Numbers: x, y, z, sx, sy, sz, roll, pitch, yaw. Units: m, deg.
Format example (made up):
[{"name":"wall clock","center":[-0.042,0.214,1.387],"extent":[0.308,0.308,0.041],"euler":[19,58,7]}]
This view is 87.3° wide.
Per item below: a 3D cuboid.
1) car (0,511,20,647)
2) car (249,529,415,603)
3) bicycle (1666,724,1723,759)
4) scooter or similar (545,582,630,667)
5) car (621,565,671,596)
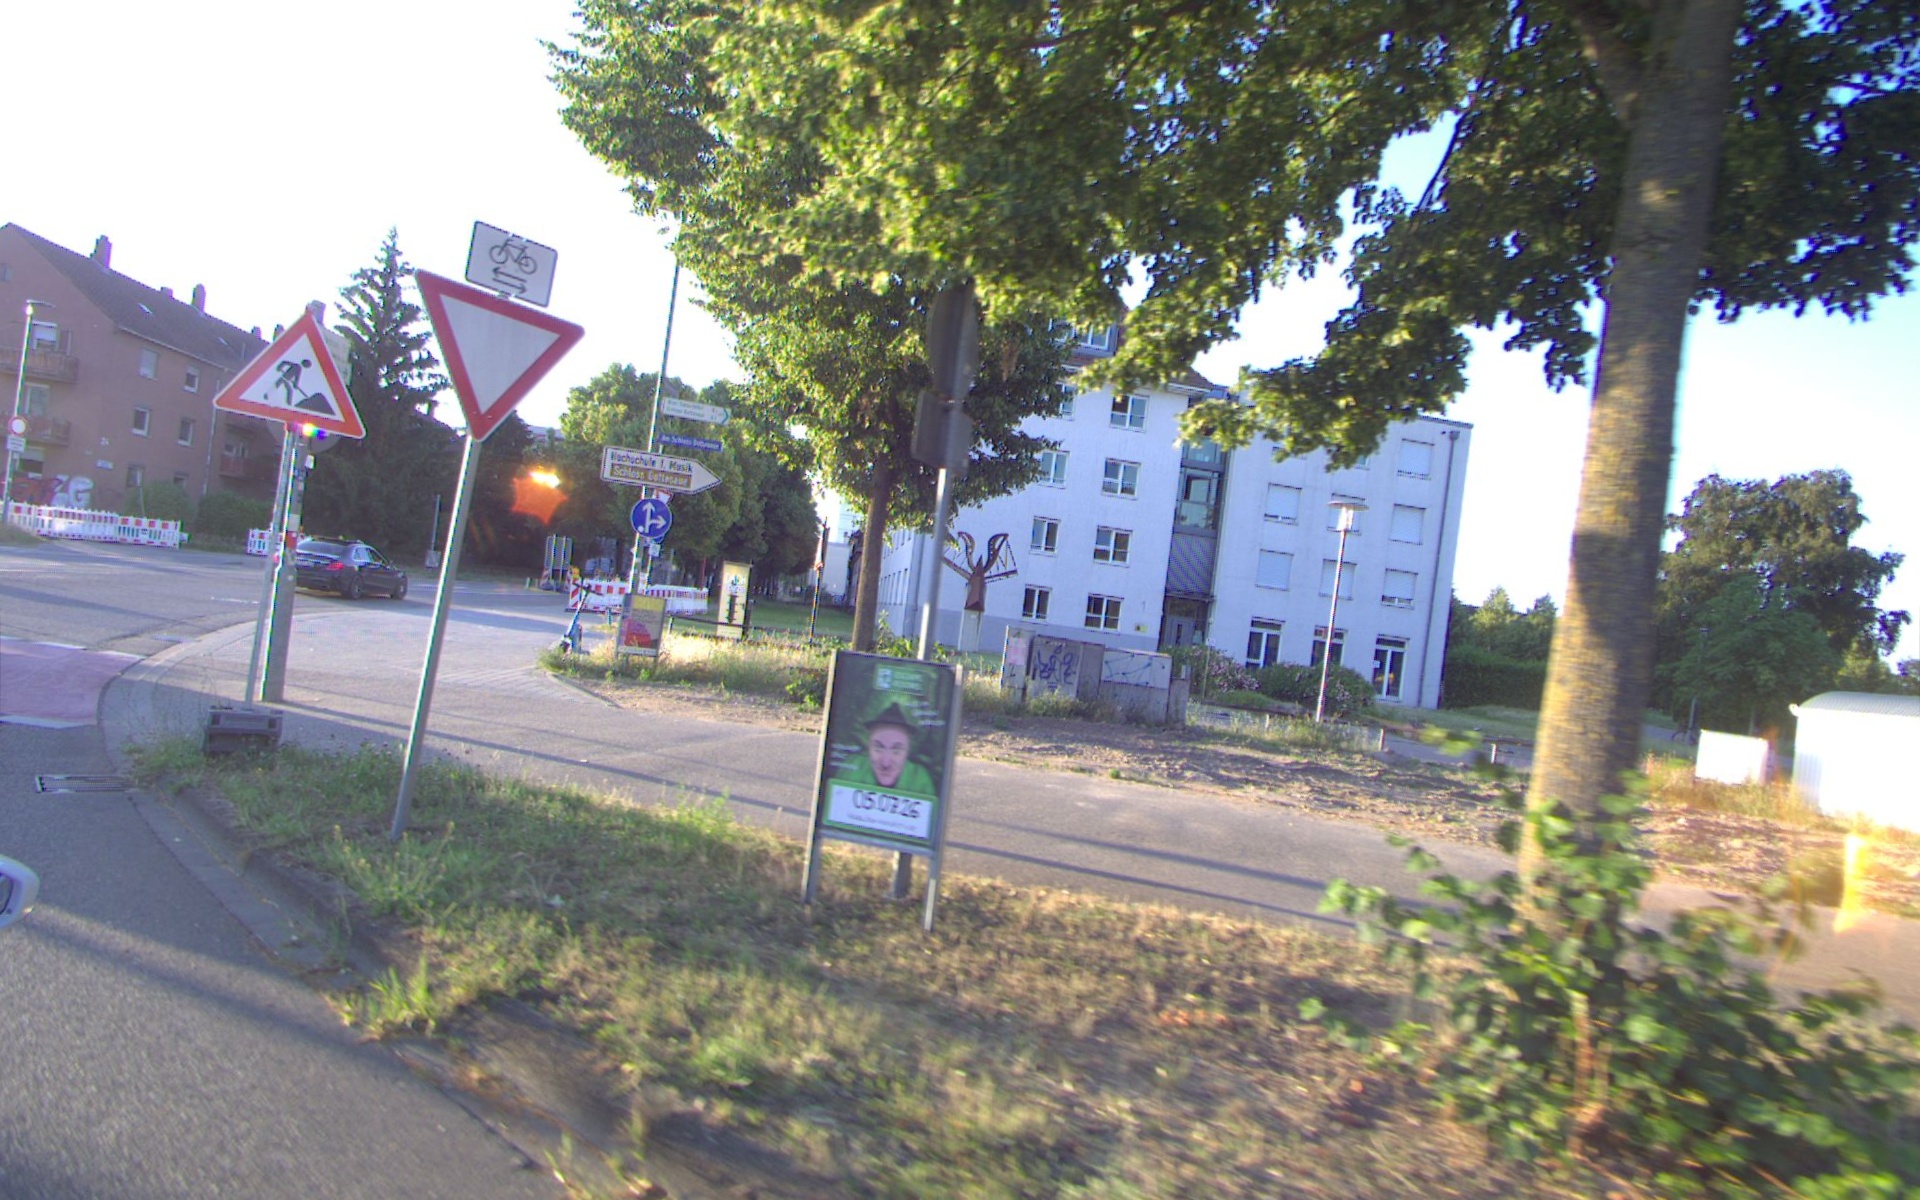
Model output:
[{"name":"car","center":[-9.083,-0.196,7.817],"extent":[1.942,1.357,4.624],"euler":[9,-2,-36]},{"name":"car","center":[-16.102,-0.818,26.091],"extent":[1.926,1.443,4.422],"euler":[9,-1,-9]},{"name":"bicycle","center":[26.564,5.106,36.399],"extent":[0.398,0.890,1.845],"euler":[7,1,-8]},{"name":"scooter or similar","center":[-5.965,0.412,16.161],"extent":[0.435,1.253,1.122],"euler":[8,0,31]},{"name":"car","center":[-19.141,-1.181,61.508],"extent":[1.924,1.590,4.423],"euler":[9,0,-6]}]
